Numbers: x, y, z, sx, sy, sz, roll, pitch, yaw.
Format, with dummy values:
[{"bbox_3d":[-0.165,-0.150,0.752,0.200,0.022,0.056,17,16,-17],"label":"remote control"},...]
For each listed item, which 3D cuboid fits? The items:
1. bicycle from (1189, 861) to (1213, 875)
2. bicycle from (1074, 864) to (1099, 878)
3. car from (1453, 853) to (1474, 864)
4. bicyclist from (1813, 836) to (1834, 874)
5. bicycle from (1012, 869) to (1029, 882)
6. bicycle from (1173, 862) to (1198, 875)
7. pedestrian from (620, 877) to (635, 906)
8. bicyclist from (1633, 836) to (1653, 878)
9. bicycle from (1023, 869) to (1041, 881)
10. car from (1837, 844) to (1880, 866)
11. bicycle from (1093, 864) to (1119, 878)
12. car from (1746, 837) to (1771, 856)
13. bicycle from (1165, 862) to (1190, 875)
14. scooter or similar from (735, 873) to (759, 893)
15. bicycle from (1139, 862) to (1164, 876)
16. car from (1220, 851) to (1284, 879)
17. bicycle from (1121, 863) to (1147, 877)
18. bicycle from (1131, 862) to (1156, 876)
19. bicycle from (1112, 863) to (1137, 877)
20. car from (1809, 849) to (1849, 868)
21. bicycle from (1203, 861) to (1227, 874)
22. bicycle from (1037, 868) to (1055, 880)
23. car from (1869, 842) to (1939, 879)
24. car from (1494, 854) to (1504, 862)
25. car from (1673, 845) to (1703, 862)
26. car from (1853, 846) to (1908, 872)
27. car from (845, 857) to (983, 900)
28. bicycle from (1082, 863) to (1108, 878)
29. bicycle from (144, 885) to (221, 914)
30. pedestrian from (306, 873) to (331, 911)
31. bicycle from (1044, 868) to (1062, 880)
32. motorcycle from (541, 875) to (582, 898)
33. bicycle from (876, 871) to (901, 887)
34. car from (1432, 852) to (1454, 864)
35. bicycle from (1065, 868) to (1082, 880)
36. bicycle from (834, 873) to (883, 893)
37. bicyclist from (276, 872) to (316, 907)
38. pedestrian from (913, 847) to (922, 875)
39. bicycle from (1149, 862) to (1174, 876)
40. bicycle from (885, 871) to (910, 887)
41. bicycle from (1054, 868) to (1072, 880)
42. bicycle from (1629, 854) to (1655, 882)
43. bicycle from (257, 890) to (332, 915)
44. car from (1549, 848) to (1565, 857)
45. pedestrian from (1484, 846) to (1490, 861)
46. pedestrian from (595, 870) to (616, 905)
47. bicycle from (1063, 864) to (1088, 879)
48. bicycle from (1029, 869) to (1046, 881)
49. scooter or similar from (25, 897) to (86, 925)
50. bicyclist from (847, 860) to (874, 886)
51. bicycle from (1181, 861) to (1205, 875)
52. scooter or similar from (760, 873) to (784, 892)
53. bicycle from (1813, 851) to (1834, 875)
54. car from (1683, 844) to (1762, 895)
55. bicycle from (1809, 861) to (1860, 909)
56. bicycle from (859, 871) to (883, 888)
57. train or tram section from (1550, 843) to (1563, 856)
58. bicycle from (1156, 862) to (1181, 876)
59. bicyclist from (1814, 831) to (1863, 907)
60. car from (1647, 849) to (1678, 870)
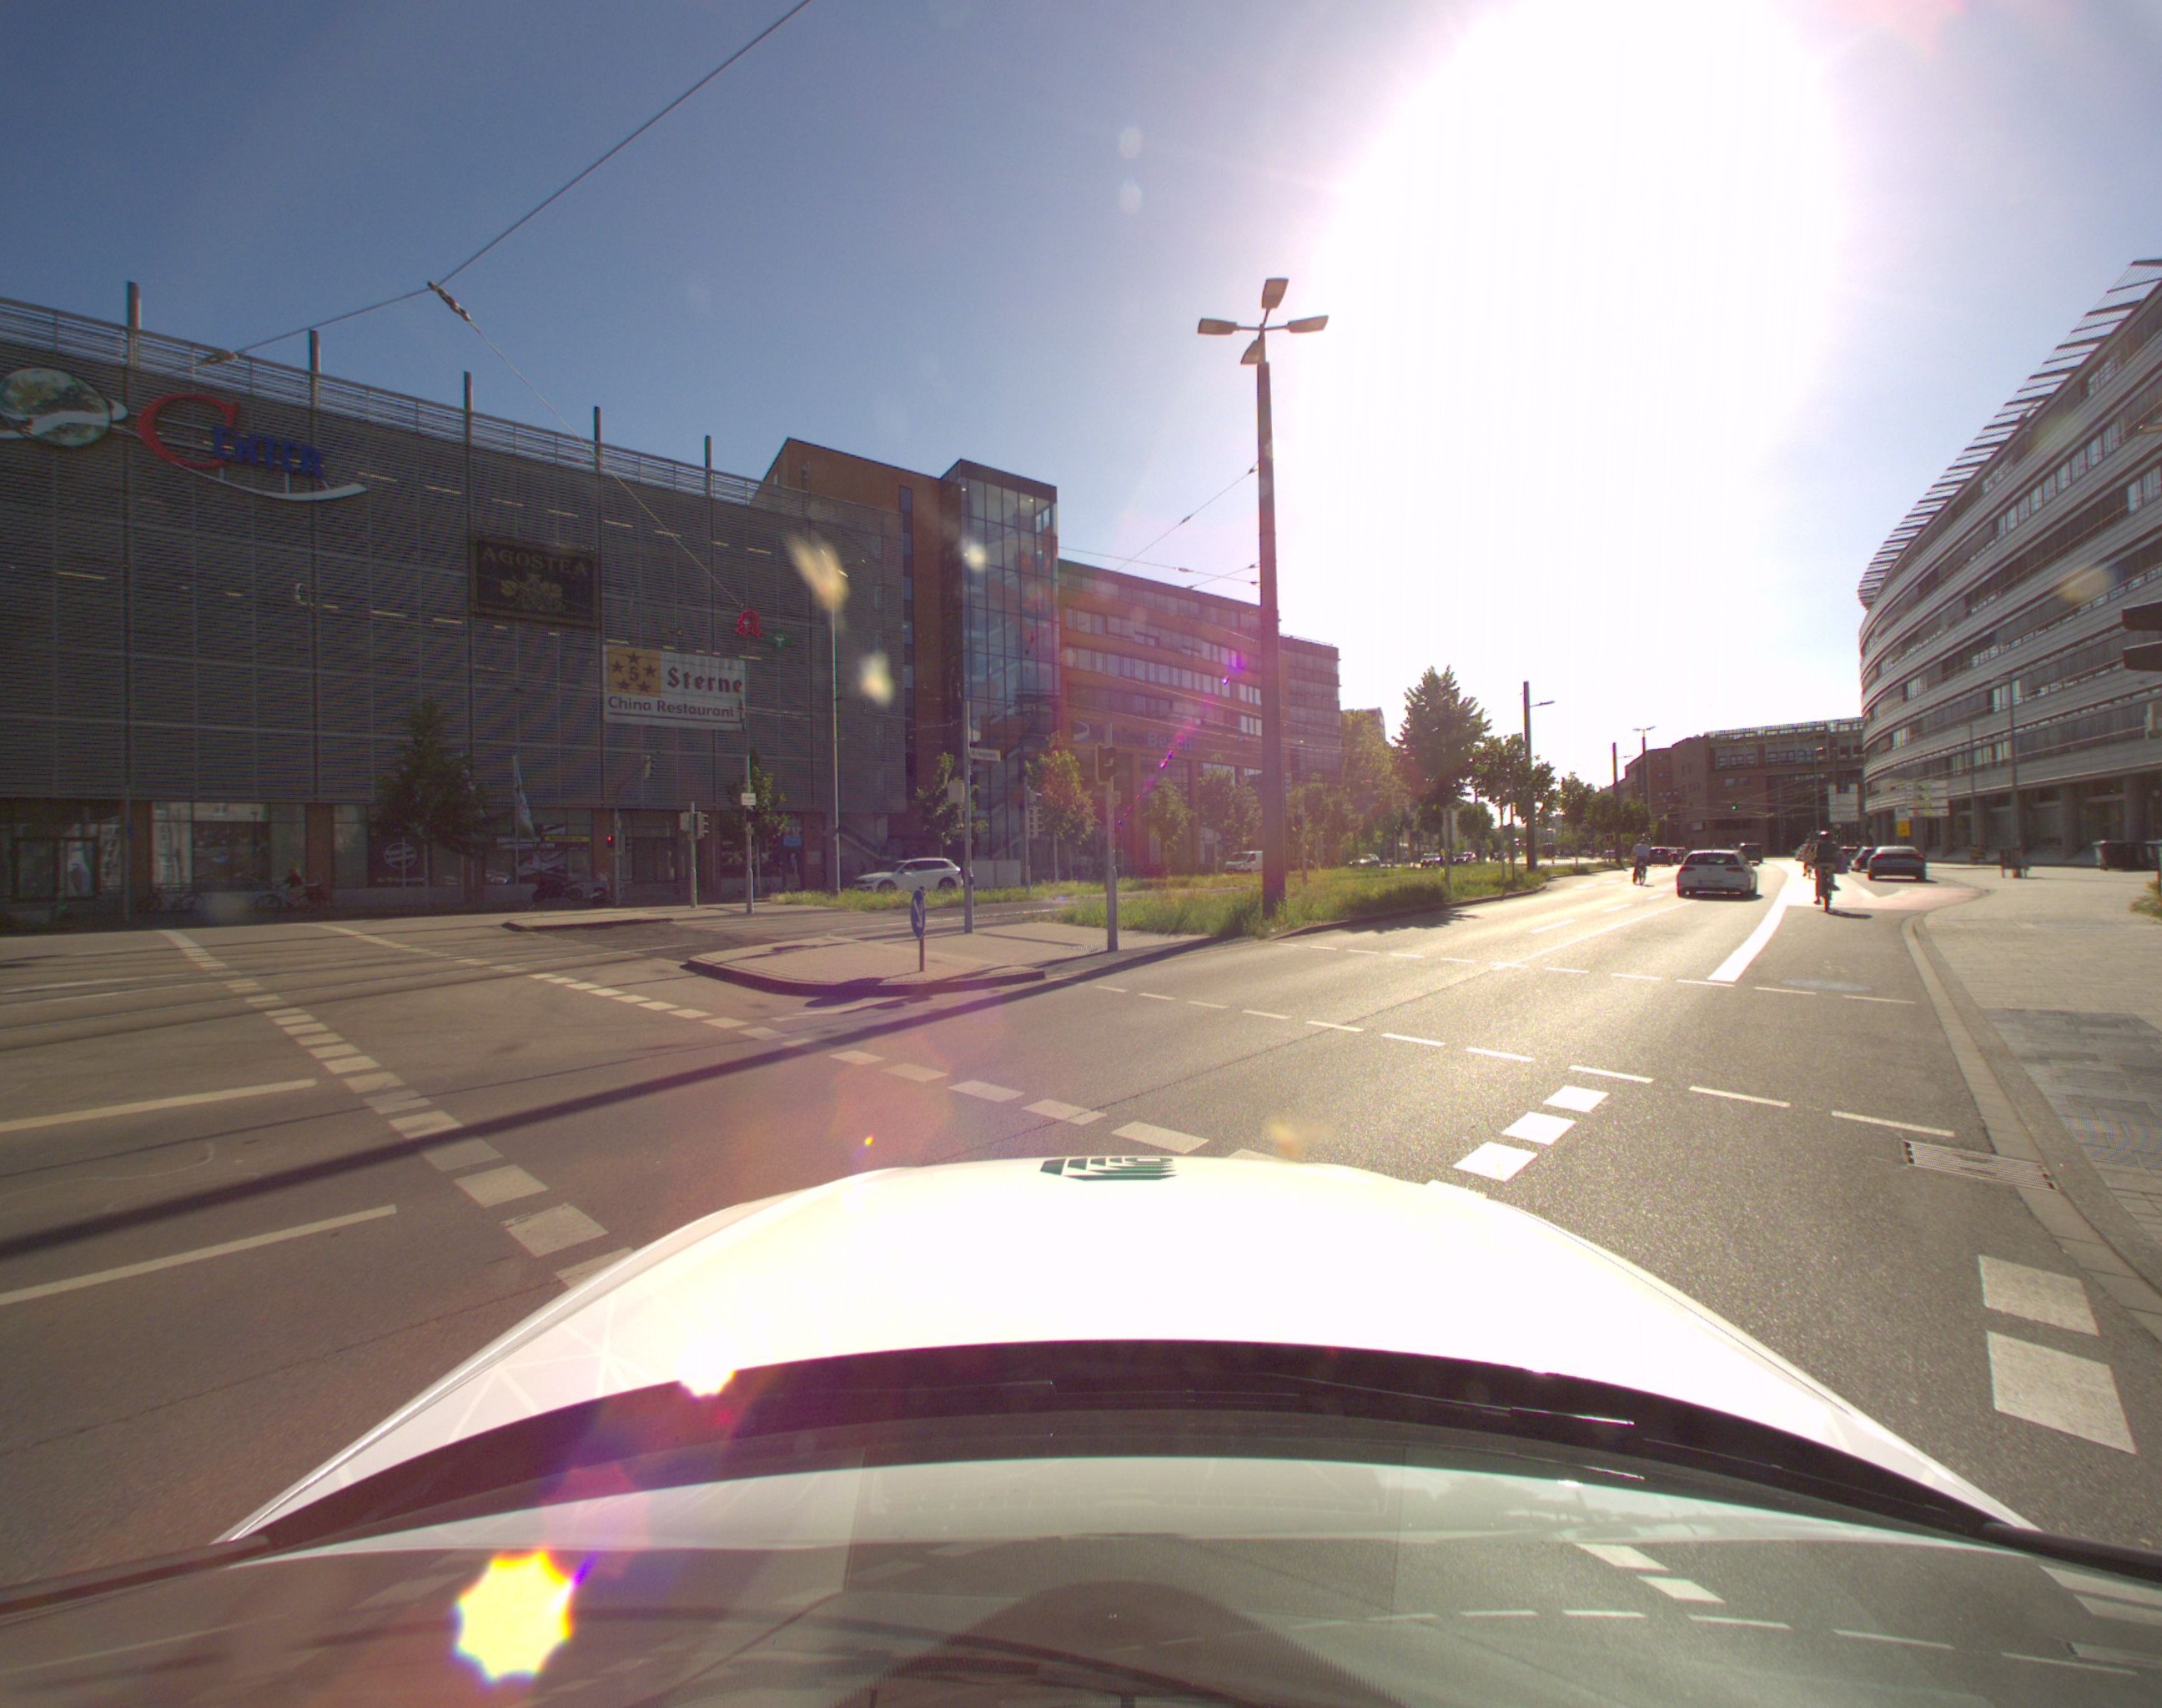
[{"bbox_3d":[10.637,1.233,72.174,0.757,1.123,2.154,0,0,-42],"label":"bicycle"},{"bbox_3d":[0.434,1.332,64.576,0.757,1.123,2.154,0,0,-42],"label":"bicycle"},{"bbox_3d":[47.910,0.593,101.996,1.414,1.359,3.316,-2,-1,41],"label":"car"},{"bbox_3d":[34.969,0.040,38.349,0.643,1.752,1.051,-2,0,45],"label":"bicyclist"},{"bbox_3d":[-4.191,1.491,56.454,0.448,0.819,1.433,0,0,-42],"label":"bicycle"},{"bbox_3d":[9.085,1.249,70.950,0.757,1.123,2.154,0,0,-42],"label":"bicycle"},{"bbox_3d":[-19.760,1.617,35.497,0.447,1.229,0.396,-1,-1,-11],"label":"pedestrian"},{"bbox_3d":[23.108,0.121,33.489,0.612,1.669,1.026,0,0,39],"label":"bicyclist"},{"bbox_3d":[-3.449,1.455,57.066,0.448,0.819,1.433,0,0,-42],"label":"bicycle"},{"bbox_3d":[52.392,0.059,54.964,1.705,1.396,4.818,-1,0,39],"label":"car"},{"bbox_3d":[1.999,1.372,65.535,0.757,1.123,2.154,0,0,-42],"label":"bicycle"},{"bbox_3d":[62.905,-0.677,75.606,1.765,1.703,4.164,1,1,40],"label":"car"},{"bbox_3d":[8.264,1.245,69.812,0.757,1.123,2.154,0,0,-42],"label":"bicycle"},{"bbox_3d":[-18.511,1.593,45.114,1.210,1.103,0.274,1,-2,-34],"label":"scooter or similar"},{"bbox_3d":[5.921,1.273,68.420,0.757,1.123,2.154,0,0,-42],"label":"bicycle"},{"bbox_3d":[12.845,0.804,61.010,2.200,2.014,5.287,-2,-1,44],"label":"car"},{"bbox_3d":[4.363,1.304,67.207,0.757,1.123,2.154,0,0,-42],"label":"bicycle"},{"bbox_3d":[5.179,1.280,67.862,0.757,1.123,2.154,0,0,-42],"label":"bicycle"},{"bbox_3d":[3.538,1.319,66.613,0.757,1.123,2.154,0,0,-42],"label":"bicycle"},{"bbox_3d":[66.428,0.393,72.396,1.888,1.583,4.164,1,1,32],"label":"car"},{"bbox_3d":[12.057,1.211,73.329,0.757,1.123,2.154,0,0,-42],"label":"bicycle"},{"bbox_3d":[-2.506,1.442,57.899,0.448,0.819,1.433,0,0,-42],"label":"bicycle"},{"bbox_3d":[36.706,0.277,36.426,1.705,1.524,4.426,-1,-1,39],"label":"car"},{"bbox_3d":[79.971,0.786,155.737,1.594,1.398,3.943,-6,-2,27],"label":"car"},{"bbox_3d":[53.111,-0.064,71.262,1.710,1.449,4.549,-2,-1,41],"label":"car"},{"bbox_3d":[45.385,0.266,46.328,1.705,1.422,4.667,1,1,38],"label":"car"},{"bbox_3d":[-7.090,1.007,34.994,5.574,1.652,1.793,-1,-1,-39],"label":"car"},{"bbox_3d":[1.111,1.320,65.136,0.757,1.123,2.154,0,0,-42],"label":"bicycle"},{"bbox_3d":[-34.951,1.756,31.720,1.961,1.038,0.566,-1,-1,-40],"label":"bicycle"},{"bbox_3d":[-31.103,1.549,33.242,0.651,1.519,0.486,-1,-1,-32],"label":"pedestrian"},{"bbox_3d":[-2.022,1.447,58.168,0.448,0.819,1.433,0,0,-42],"label":"bicycle"},{"bbox_3d":[-24.914,1.537,39.046,1.626,1.038,0.397,-1,-1,-36],"label":"motorcycle"},{"bbox_3d":[-11.745,1.513,49.644,0.495,0.954,2.154,0,0,-42],"label":"bicycle"},{"bbox_3d":[39.780,0.426,89.475,1.975,1.334,4.818,-1,-1,26],"label":"car"},{"bbox_3d":[-0.555,1.440,59.372,0.448,0.819,1.433,0,0,-42],"label":"bicycle"},{"bbox_3d":[-12.461,1.600,45.596,2.579,1.010,0.591,-1,-1,-35],"label":"bicycle"},{"bbox_3d":[-30.765,1.391,31.944,1.044,1.318,0.675,0,-1,-37],"label":"bicyclist"},{"bbox_3d":[-11.371,0.506,56.532,0.542,1.915,0.370,1,-2,-29],"label":"pedestrian"},{"bbox_3d":[6.827,1.250,68.914,0.757,1.123,2.154,0,0,-42],"label":"bicycle"},{"bbox_3d":[-11.270,1.522,50.030,0.495,0.954,2.154,0,0,-42],"label":"bicycle"},{"bbox_3d":[-1.309,1.443,58.637,0.448,0.819,1.433,0,0,-42],"label":"bicycle"},{"bbox_3d":[23.022,0.551,33.401,0.680,1.069,2.714,0,1,39],"label":"bicycle"},{"bbox_3d":[-30.796,1.906,31.927,2.058,0.867,0.675,-1,-1,-37],"label":"bicycle"},{"bbox_3d":[92.500,-0.303,158.285,2.242,1.727,3.966,-1,-1,23],"label":"car"},{"bbox_3d":[49.188,-0.046,98.749,0.458,1.831,0.459,-1,-1,1],"label":"pedestrian"},{"bbox_3d":[-20.770,1.461,35.590,0.742,1.487,0.486,-1,-1,-27],"label":"pedestrian"},{"bbox_3d":[-0.427,1.360,63.924,0.757,1.123,2.154,0,0,-42],"label":"bicycle"},{"bbox_3d":[-3.068,1.466,57.551,0.448,0.819,1.433,0,0,-42],"label":"bicycle"},{"bbox_3d":[-34.110,1.899,27.097,1.233,0.851,0.298,-1,-1,-39],"label":"scooter or similar"},{"bbox_3d":[-12.371,1.053,45.666,1.318,1.407,0.587,-1,-1,-35],"label":"bicyclist"},{"bbox_3d":[9.847,1.216,71.637,0.757,1.123,2.154,0,0,-42],"label":"bicycle"},{"bbox_3d":[-17.486,1.615,46.057,1.210,1.103,0.274,1,-2,-34],"label":"scooter or similar"},{"bbox_3d":[34.777,0.427,38.140,0.643,1.110,1.768,-2,-2,44],"label":"bicycle"},{"bbox_3d":[19.932,0.417,25.237,1.756,1.403,4.320,1,1,40],"label":"car"},{"bbox_3d":[17.713,0.696,19.126,0.818,1.036,1.903,0,1,45],"label":"bicycle"},{"bbox_3d":[-12.581,1.542,48.797,0.495,0.954,2.154,0,0,-42],"label":"bicycle"},{"bbox_3d":[110.608,-1.078,189.579,2.304,3.003,13.241,-1,-1,29],"label":"train or tram section"},{"bbox_3d":[7.458,1.262,69.418,0.757,1.123,2.154,0,0,-42],"label":"bicycle"},{"bbox_3d":[17.602,0.327,18.914,0.799,1.693,1.057,0,0,45],"label":"bicyclist"},{"bbox_3d":[46.443,0.438,64.980,1.710,1.564,3.700,-2,-1,40],"label":"car"}]
